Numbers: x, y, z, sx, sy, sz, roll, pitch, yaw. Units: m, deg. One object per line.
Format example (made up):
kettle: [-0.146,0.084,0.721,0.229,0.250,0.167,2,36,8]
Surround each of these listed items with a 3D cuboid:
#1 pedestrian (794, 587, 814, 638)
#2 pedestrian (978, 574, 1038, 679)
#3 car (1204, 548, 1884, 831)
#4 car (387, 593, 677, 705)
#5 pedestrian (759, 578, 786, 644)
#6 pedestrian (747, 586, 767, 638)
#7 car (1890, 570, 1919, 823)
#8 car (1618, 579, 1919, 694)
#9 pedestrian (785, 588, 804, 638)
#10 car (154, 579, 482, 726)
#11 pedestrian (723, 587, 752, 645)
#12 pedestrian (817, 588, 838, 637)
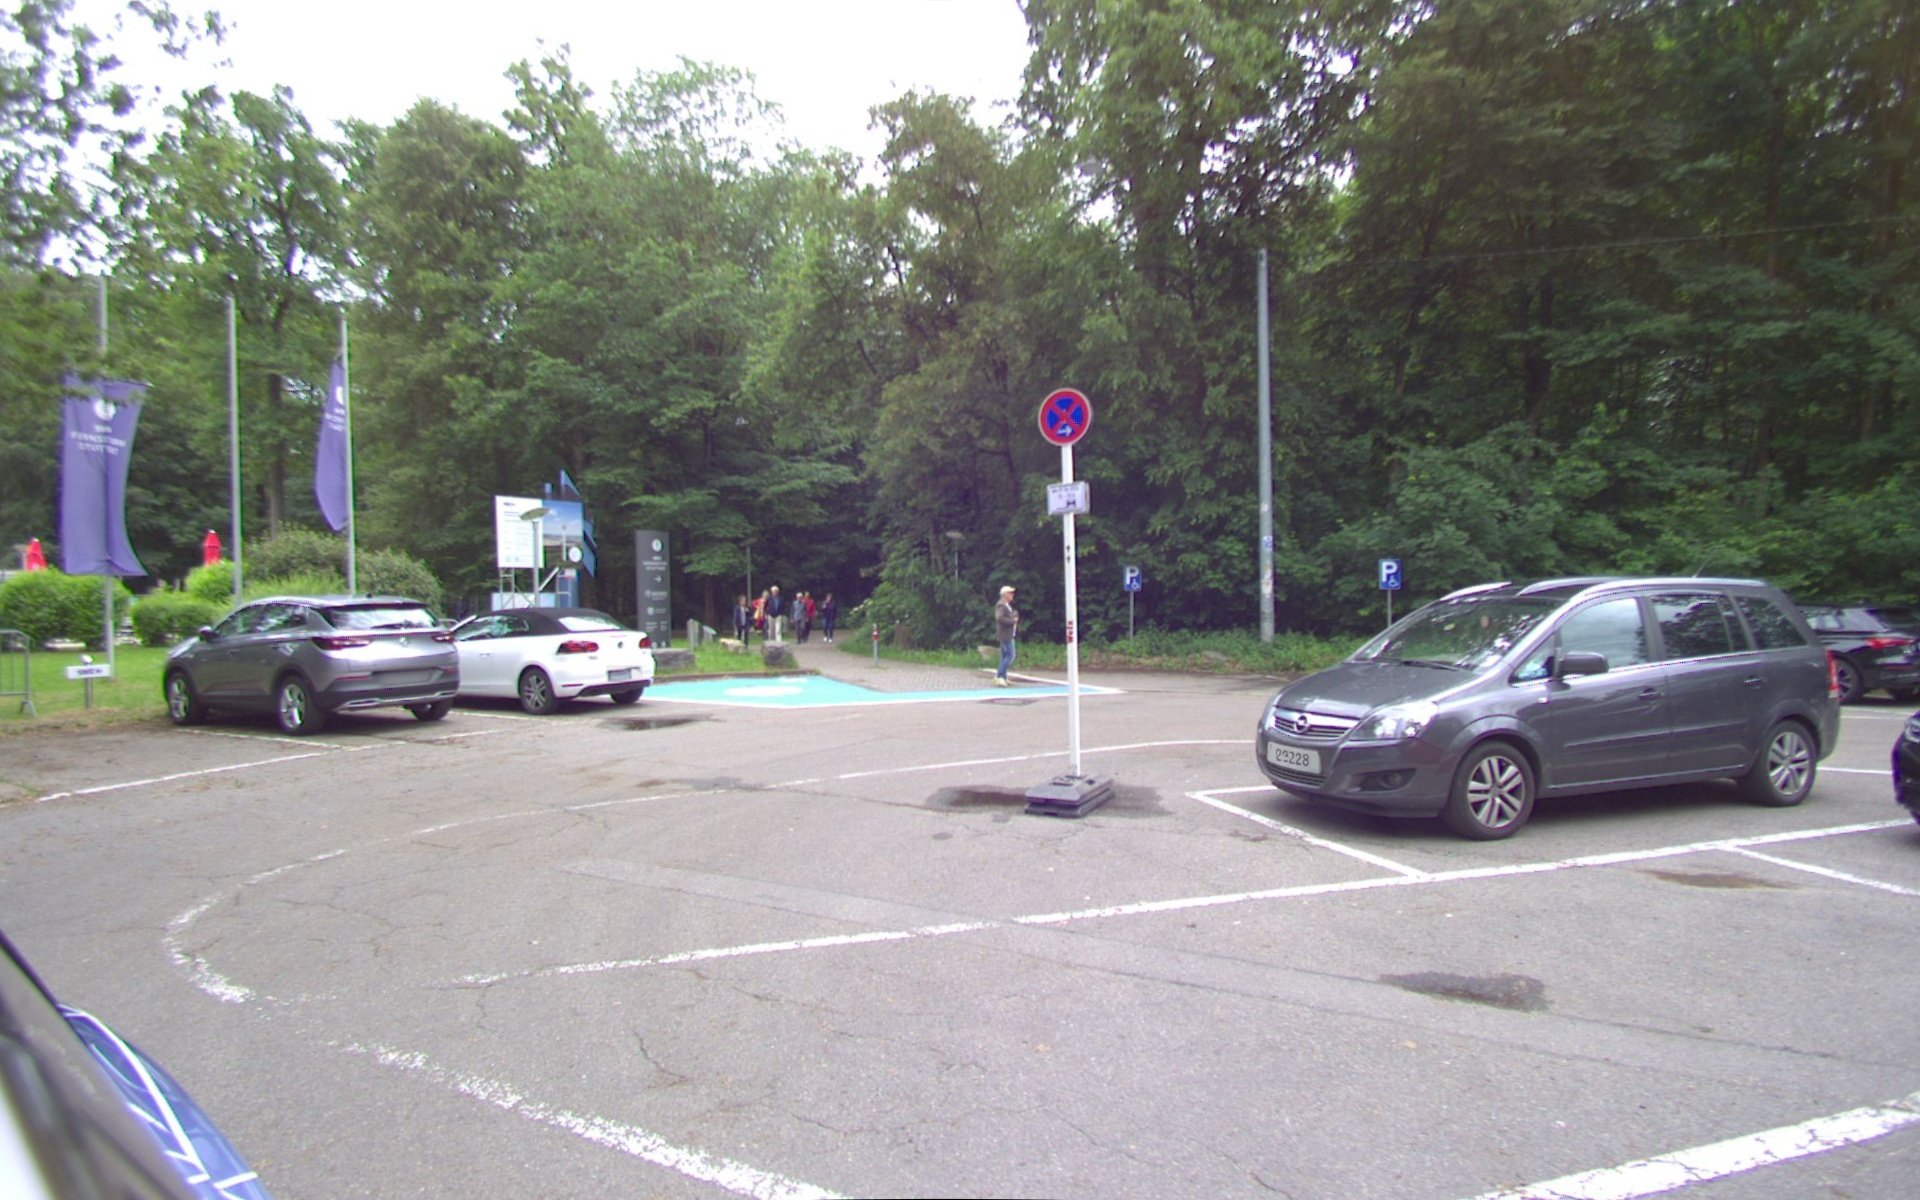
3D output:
pedestrian: [-5.572,0.440,36.135,0.670,1.781,0.715,-1,0,-12]
pedestrian: [0.811,0.440,17.308,0.883,1.738,0.765,0,0,-8]
car: [4.163,0.494,7.333,4.312,1.621,1.835,-1,0,-18]
car: [-6.280,0.638,14.784,3.983,1.439,1.880,0,0,29]
pedestrian: [-5.587,0.325,30.156,0.723,1.930,0.669,-1,0,-6]
pedestrian: [-6.960,0.408,34.697,0.672,1.775,0.607,-1,0,-12]
car: [7.756,0.529,5.789,4.205,1.454,1.765,-1,0,-19]
car: [12.526,0.475,15.195,1.867,1.473,4.217,0,0,-16]
pedestrian: [-5.643,0.450,34.546,0.599,1.686,0.607,-1,0,-12]
car: [-8.154,0.580,12.815,3.983,1.597,1.880,0,0,30]
pedestrian: [-6.448,0.460,29.334,0.766,1.646,0.638,-1,0,-6]
pedestrian: [-4.676,0.430,35.677,0.670,1.686,0.664,-1,0,-12]
